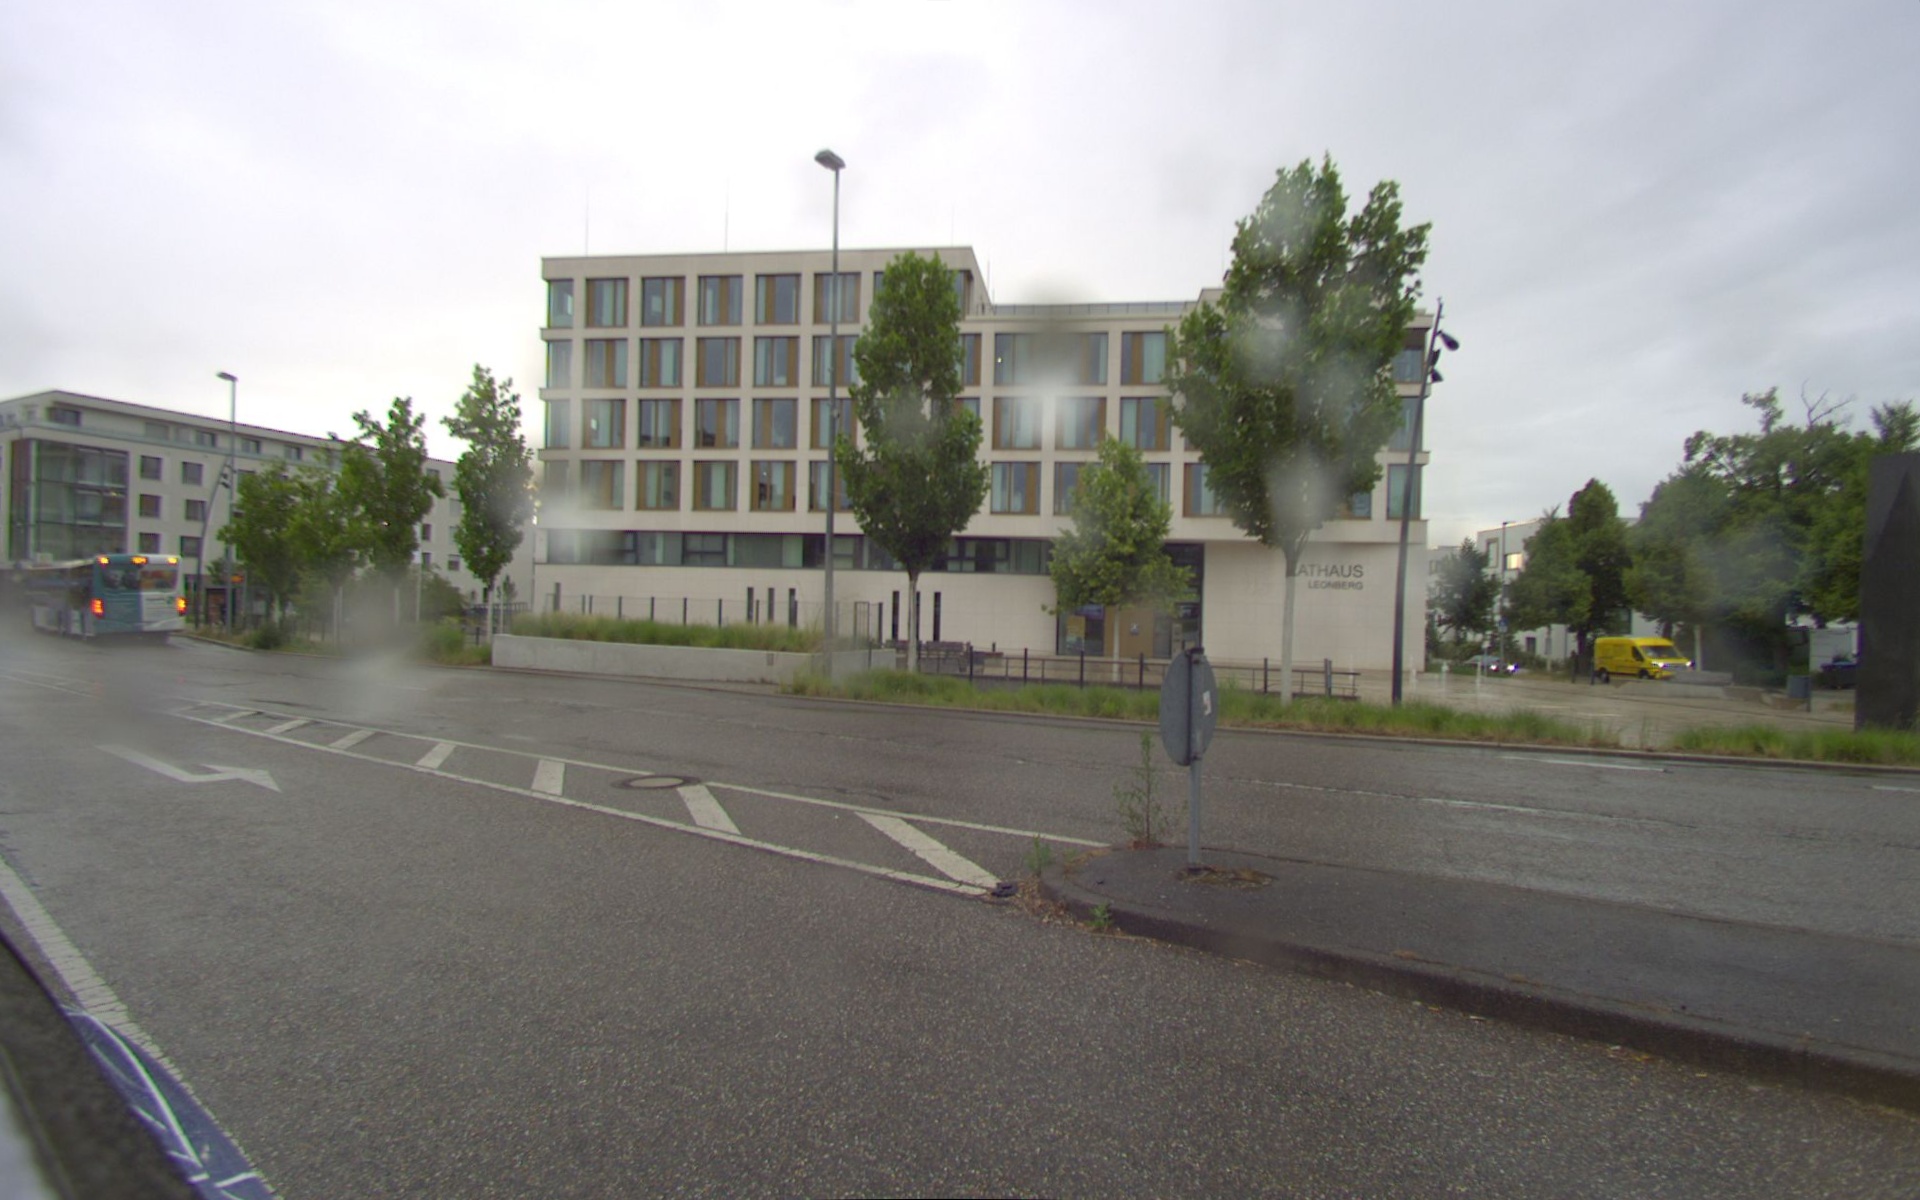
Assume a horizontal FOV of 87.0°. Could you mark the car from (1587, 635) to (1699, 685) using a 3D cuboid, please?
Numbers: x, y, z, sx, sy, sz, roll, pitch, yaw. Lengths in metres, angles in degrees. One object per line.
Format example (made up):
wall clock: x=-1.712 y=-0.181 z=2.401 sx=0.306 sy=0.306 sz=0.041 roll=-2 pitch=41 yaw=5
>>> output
car: x=35.545 y=3.133 z=52.927 sx=1.973 sy=2.428 sz=5.913 roll=1 pitch=-3 yaw=2

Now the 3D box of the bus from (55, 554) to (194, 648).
bus: x=-31.508 y=0.120 z=37.983 sx=9.367 sy=3.138 sz=2.746 roll=-1 pitch=-2 yaw=43

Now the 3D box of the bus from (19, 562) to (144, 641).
bus: x=-38.314 y=0.125 z=44.008 sx=8.877 sy=3.138 sz=2.763 roll=-1 pitch=-2 yaw=40

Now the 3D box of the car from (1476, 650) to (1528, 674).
car: x=37.995 y=4.330 z=71.039 sx=1.978 sy=1.551 sz=3.987 roll=1 pitch=-3 yaw=10
